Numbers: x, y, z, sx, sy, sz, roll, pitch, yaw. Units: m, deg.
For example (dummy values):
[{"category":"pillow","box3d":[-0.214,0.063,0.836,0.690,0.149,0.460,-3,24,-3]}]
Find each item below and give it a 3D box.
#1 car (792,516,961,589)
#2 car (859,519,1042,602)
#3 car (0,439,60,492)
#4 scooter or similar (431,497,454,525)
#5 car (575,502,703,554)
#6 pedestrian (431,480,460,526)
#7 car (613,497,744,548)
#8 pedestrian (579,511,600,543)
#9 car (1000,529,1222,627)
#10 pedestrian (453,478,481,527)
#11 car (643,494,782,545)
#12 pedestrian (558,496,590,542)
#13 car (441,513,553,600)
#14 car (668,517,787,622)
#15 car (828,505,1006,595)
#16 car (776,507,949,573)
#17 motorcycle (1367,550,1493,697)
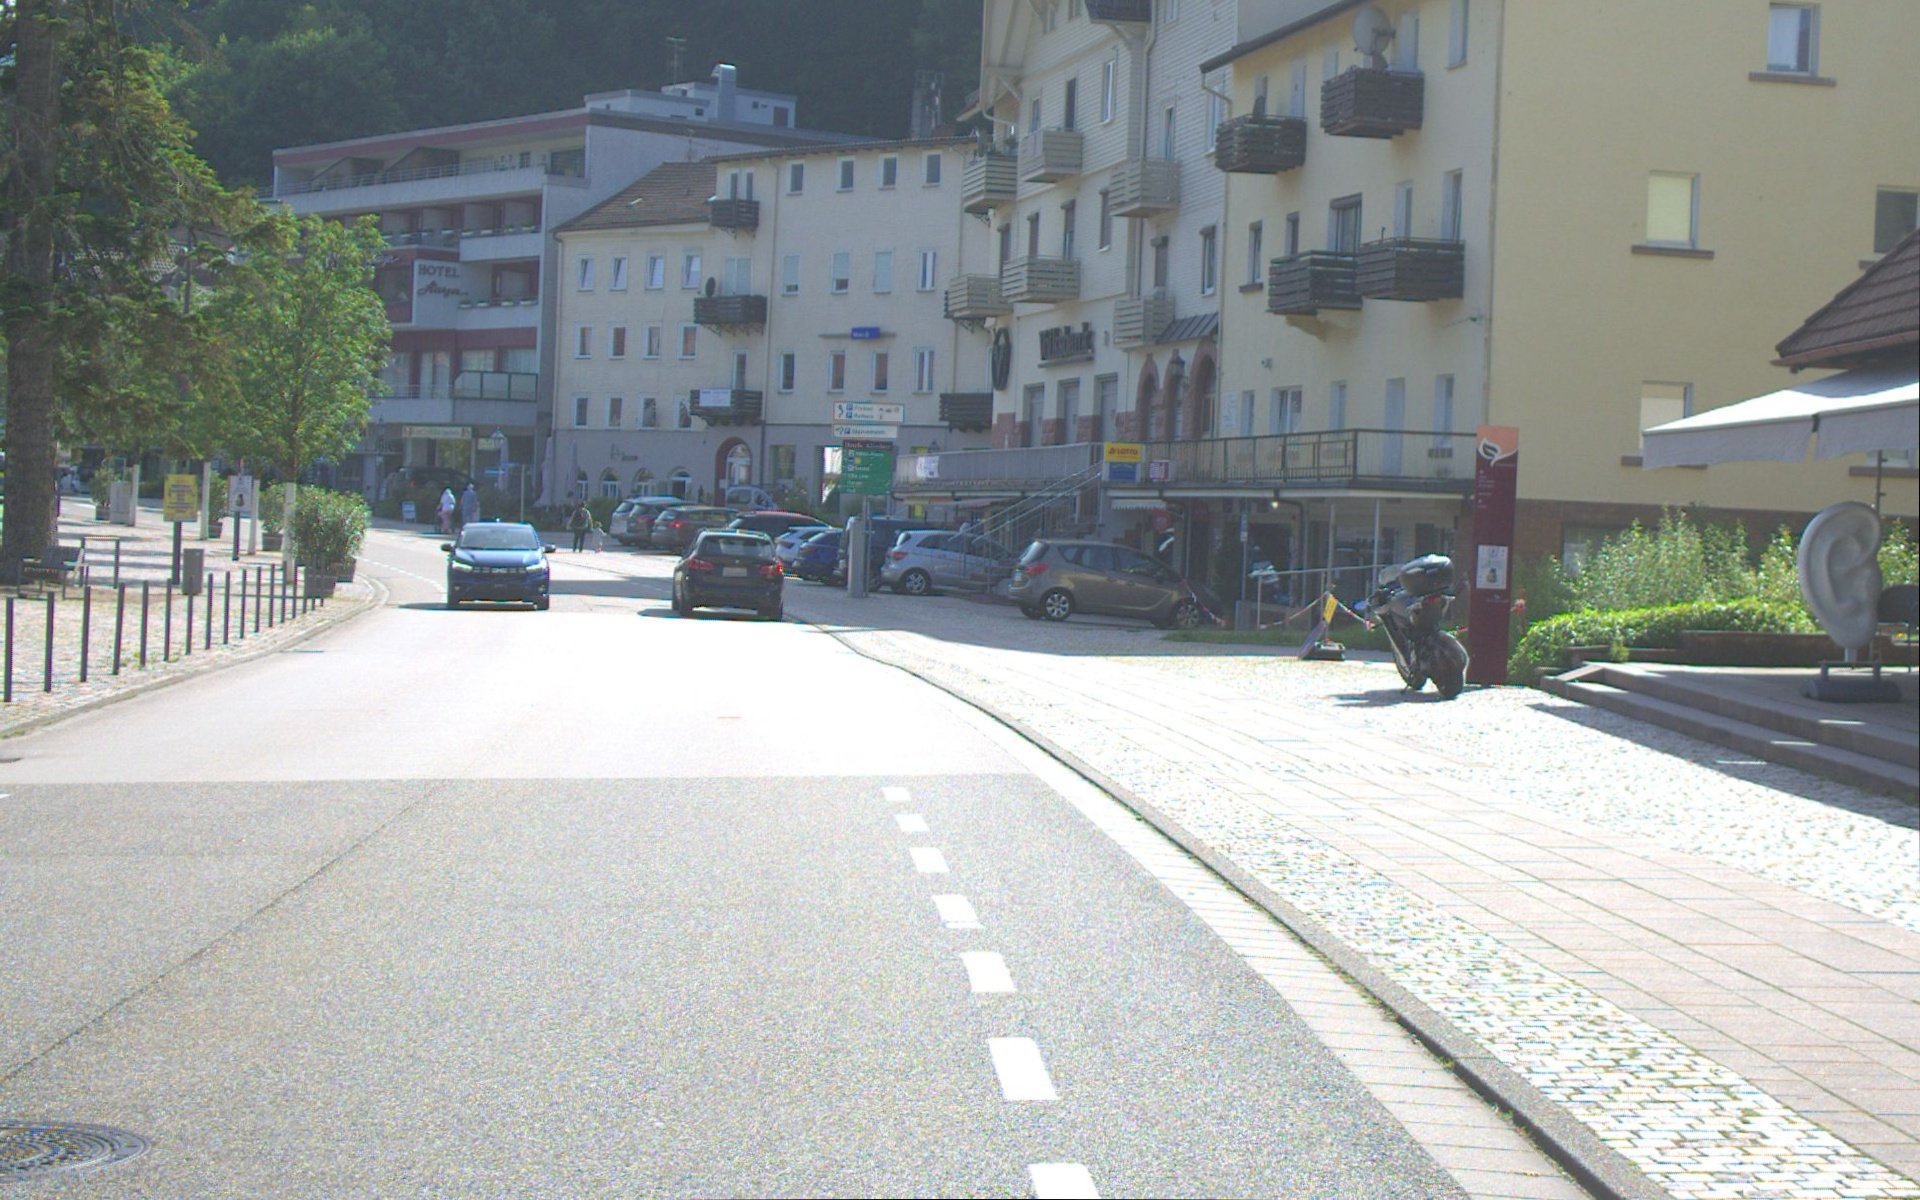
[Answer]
[{"category":"car","box3d":[-2.093,-1.186,85.830,3.908,1.456,1.737,5,1,-10]},{"category":"car","box3d":[-0.238,-0.931,80.556,3.908,1.583,1.775,5,1,-10]},{"category":"car","box3d":[-36.975,-5.200,132.601,5.013,1.946,1.856,3,2,40]},{"category":"scooter or similar","box3d":[-18.564,-3.197,123.323,0.596,0.947,0.474,2,2,-33]},{"category":"car","box3d":[-10.676,-2.423,114.344,3.861,1.607,1.773,-1,4,-31]},{"category":"pedestrian","box3d":[-18.441,-3.477,123.152,0.757,1.588,0.628,2,2,-33]},{"category":"car","box3d":[-9.152,-2.532,111.768,3.861,1.544,1.773,-1,4,-31]},{"category":"pedestrian","box3d":[-11.615,-2.292,107.801,0.417,0.998,0.531,-1,3,-34]},{"category":"car","box3d":[2.929,-0.444,67.006,3.858,1.549,1.761,5,1,-13]},{"category":"pedestrian","box3d":[-17.812,-3.533,124.121,0.669,1.722,0.707,2,2,-33]},{"category":"car","box3d":[-7.813,-2.551,108.669,4.009,1.511,1.773,-1,4,-31]},{"category":"pedestrian","box3d":[-12.067,-2.534,107.473,0.735,1.437,0.633,-1,3,-37]},{"category":"car","box3d":[-8.068,-0.789,60.184,1.741,1.457,4.188,0,1,-5]},{"category":"car","box3d":[-4.127,-0.564,60.685,1.727,1.569,3.754,3,3,-8]},{"category":"car","box3d":[-1.050,-1.213,83.235,3.908,1.798,1.858,5,0,-10]},{"category":"car","box3d":[-2.631,-1.606,92.223,4.355,1.456,1.773,4,0,-8]},{"category":"motorcycle","box3d":[4.343,0.197,31.923,0.697,1.292,2.213,-1,1,-4]}]
